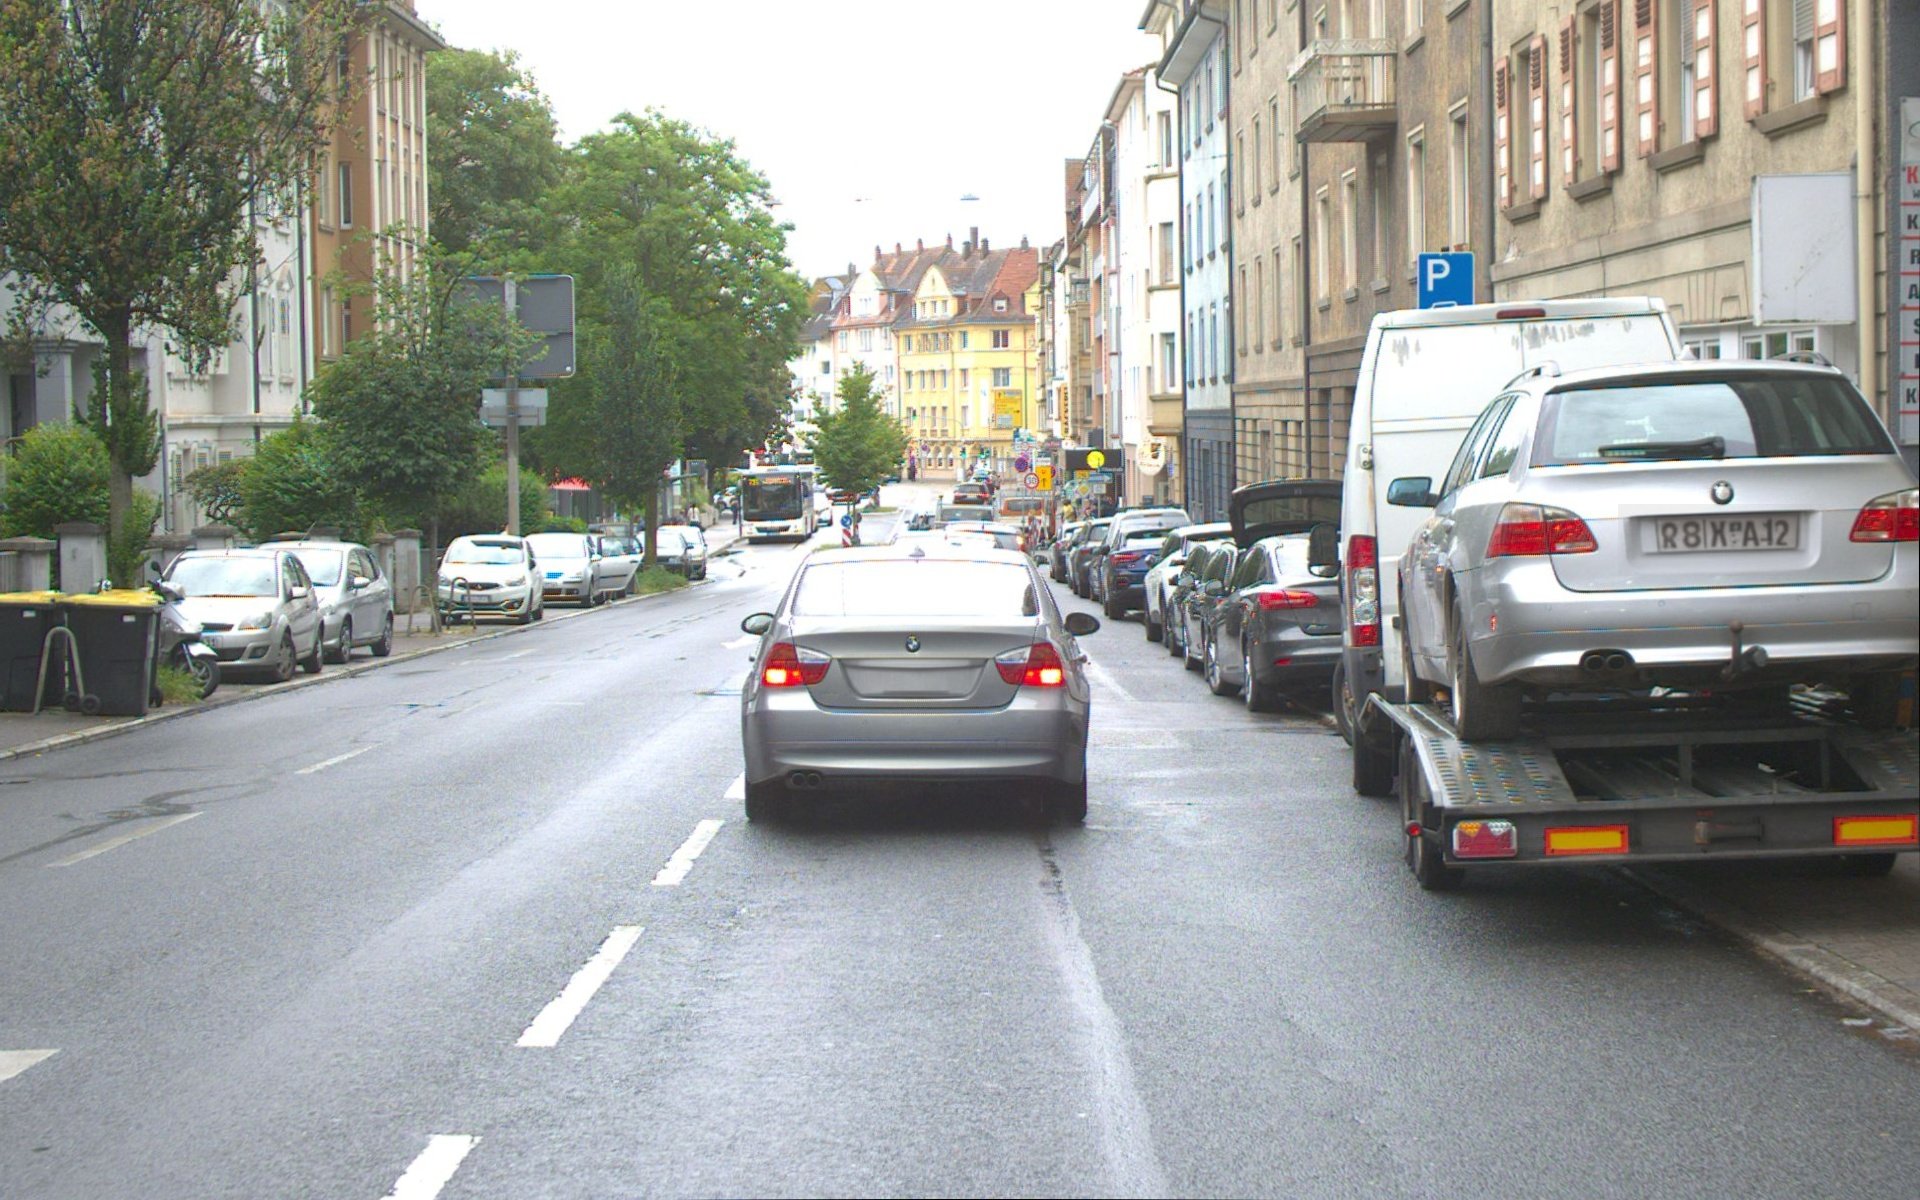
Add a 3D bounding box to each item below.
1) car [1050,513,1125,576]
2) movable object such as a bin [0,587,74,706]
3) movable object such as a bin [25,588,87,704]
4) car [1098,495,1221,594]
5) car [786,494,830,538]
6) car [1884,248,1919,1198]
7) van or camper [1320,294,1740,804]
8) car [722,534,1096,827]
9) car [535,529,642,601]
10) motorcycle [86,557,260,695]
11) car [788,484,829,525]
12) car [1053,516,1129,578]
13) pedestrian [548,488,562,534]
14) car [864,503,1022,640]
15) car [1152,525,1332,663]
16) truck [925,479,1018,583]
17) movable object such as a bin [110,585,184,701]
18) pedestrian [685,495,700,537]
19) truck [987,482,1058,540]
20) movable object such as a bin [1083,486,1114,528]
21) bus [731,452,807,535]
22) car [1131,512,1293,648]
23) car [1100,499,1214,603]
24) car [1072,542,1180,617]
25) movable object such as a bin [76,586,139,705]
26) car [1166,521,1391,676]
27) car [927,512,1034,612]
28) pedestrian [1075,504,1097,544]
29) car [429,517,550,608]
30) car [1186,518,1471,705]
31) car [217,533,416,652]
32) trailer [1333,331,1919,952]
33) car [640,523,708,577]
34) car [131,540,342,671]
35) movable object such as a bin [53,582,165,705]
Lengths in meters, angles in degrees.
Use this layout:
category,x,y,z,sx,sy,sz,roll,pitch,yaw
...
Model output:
category,x,y,z,sx,sy,sz,roll,pitch,yaw
car,3.056,-1.353,82.984,1.583,1.424,3.595,-3,2,0
movable object such as a bin,-8.547,0.415,31.261,0.825,1.054,0.483,2,0,1
movable object such as a bin,-8.463,0.431,32.196,0.471,1.054,0.484,3,0,-9
car,3.268,-0.939,57.034,1.790,1.543,4.226,-2,1,0
car,-7.505,-4.142,170.284,1.993,2.007,4.000,3,0,-1
car,3.263,0.311,5.203,2.153,2.141,5.510,-1,1,-1
van or camper,3.377,-0.347,21.522,2.185,2.690,6.418,-1,1,6
car,-0.250,0.373,18.032,1.756,1.358,3.165,1,0,0
car,-7.462,-0.722,69.354,1.682,1.385,3.909,1,1,0
motorcycle,-7.769,0.242,33.894,1.810,1.310,0.740,1,2,41
car,-8.124,-5.108,184.343,1.993,2.007,4.000,3,0,-1
car,3.456,-1.431,91.436,1.818,1.552,4.293,-2,1,0
pedestrian,-16.009,-3.533,136.023,0.464,1.783,0.545,3,0,-7
car,-0.231,-0.327,39.125,1.601,1.415,3.288,3,0,-2
car,3.260,-0.105,40.326,1.632,1.473,3.735,3,1,-2
truck,0.262,-1.771,89.711,2.216,2.535,4.780,3,0,-1
movable object such as a bin,-7.610,0.396,32.197,0.524,1.054,0.483,3,0,1
pedestrian,-11.109,-3.481,142.706,0.543,1.703,0.466,3,0,-6
truck,2.431,-3.478,134.846,2.215,2.109,4.653,4,1,-5
movable object such as a bin,5.731,-3.842,142.071,1.122,1.697,1.434,-1,0,-2
bus,-8.171,-4.505,148.297,2.681,3.189,11.957,3,0,-1
car,3.286,-0.291,45.448,1.632,1.633,4.196,3,1,-2
car,3.599,-0.933,63.486,1.790,1.811,4.080,-2,1,0
car,3.360,-0.447,70.267,1.840,1.404,4.388,-2,1,-1
movable object such as a bin,-7.799,0.414,31.469,0.471,1.054,0.484,3,0,-9
car,3.194,-0.037,35.288,1.777,1.474,4.588,0,1,-1
car,0.330,-0.549,50.499,1.436,1.352,3.762,3,0,1
pedestrian,5.252,-3.166,143.324,0.750,1.655,0.754,3,0,7
car,-8.066,-0.646,59.197,1.646,1.503,3.797,0,0,-1
car,3.075,0.067,29.452,1.777,1.474,4.190,0,1,-3
car,-8.152,-0.112,43.841,1.601,1.446,3.887,0,0,4
trailer,2.798,0.049,14.734,1.994,2.145,5.072,-2,2,3
car,-7.863,-1.398,94.659,1.653,1.449,3.943,0,1,-2
car,-8.060,0.042,38.591,1.600,1.392,3.888,0,0,-1
movable object such as a bin,-7.615,0.386,30.780,0.825,1.054,0.483,3,0,1
